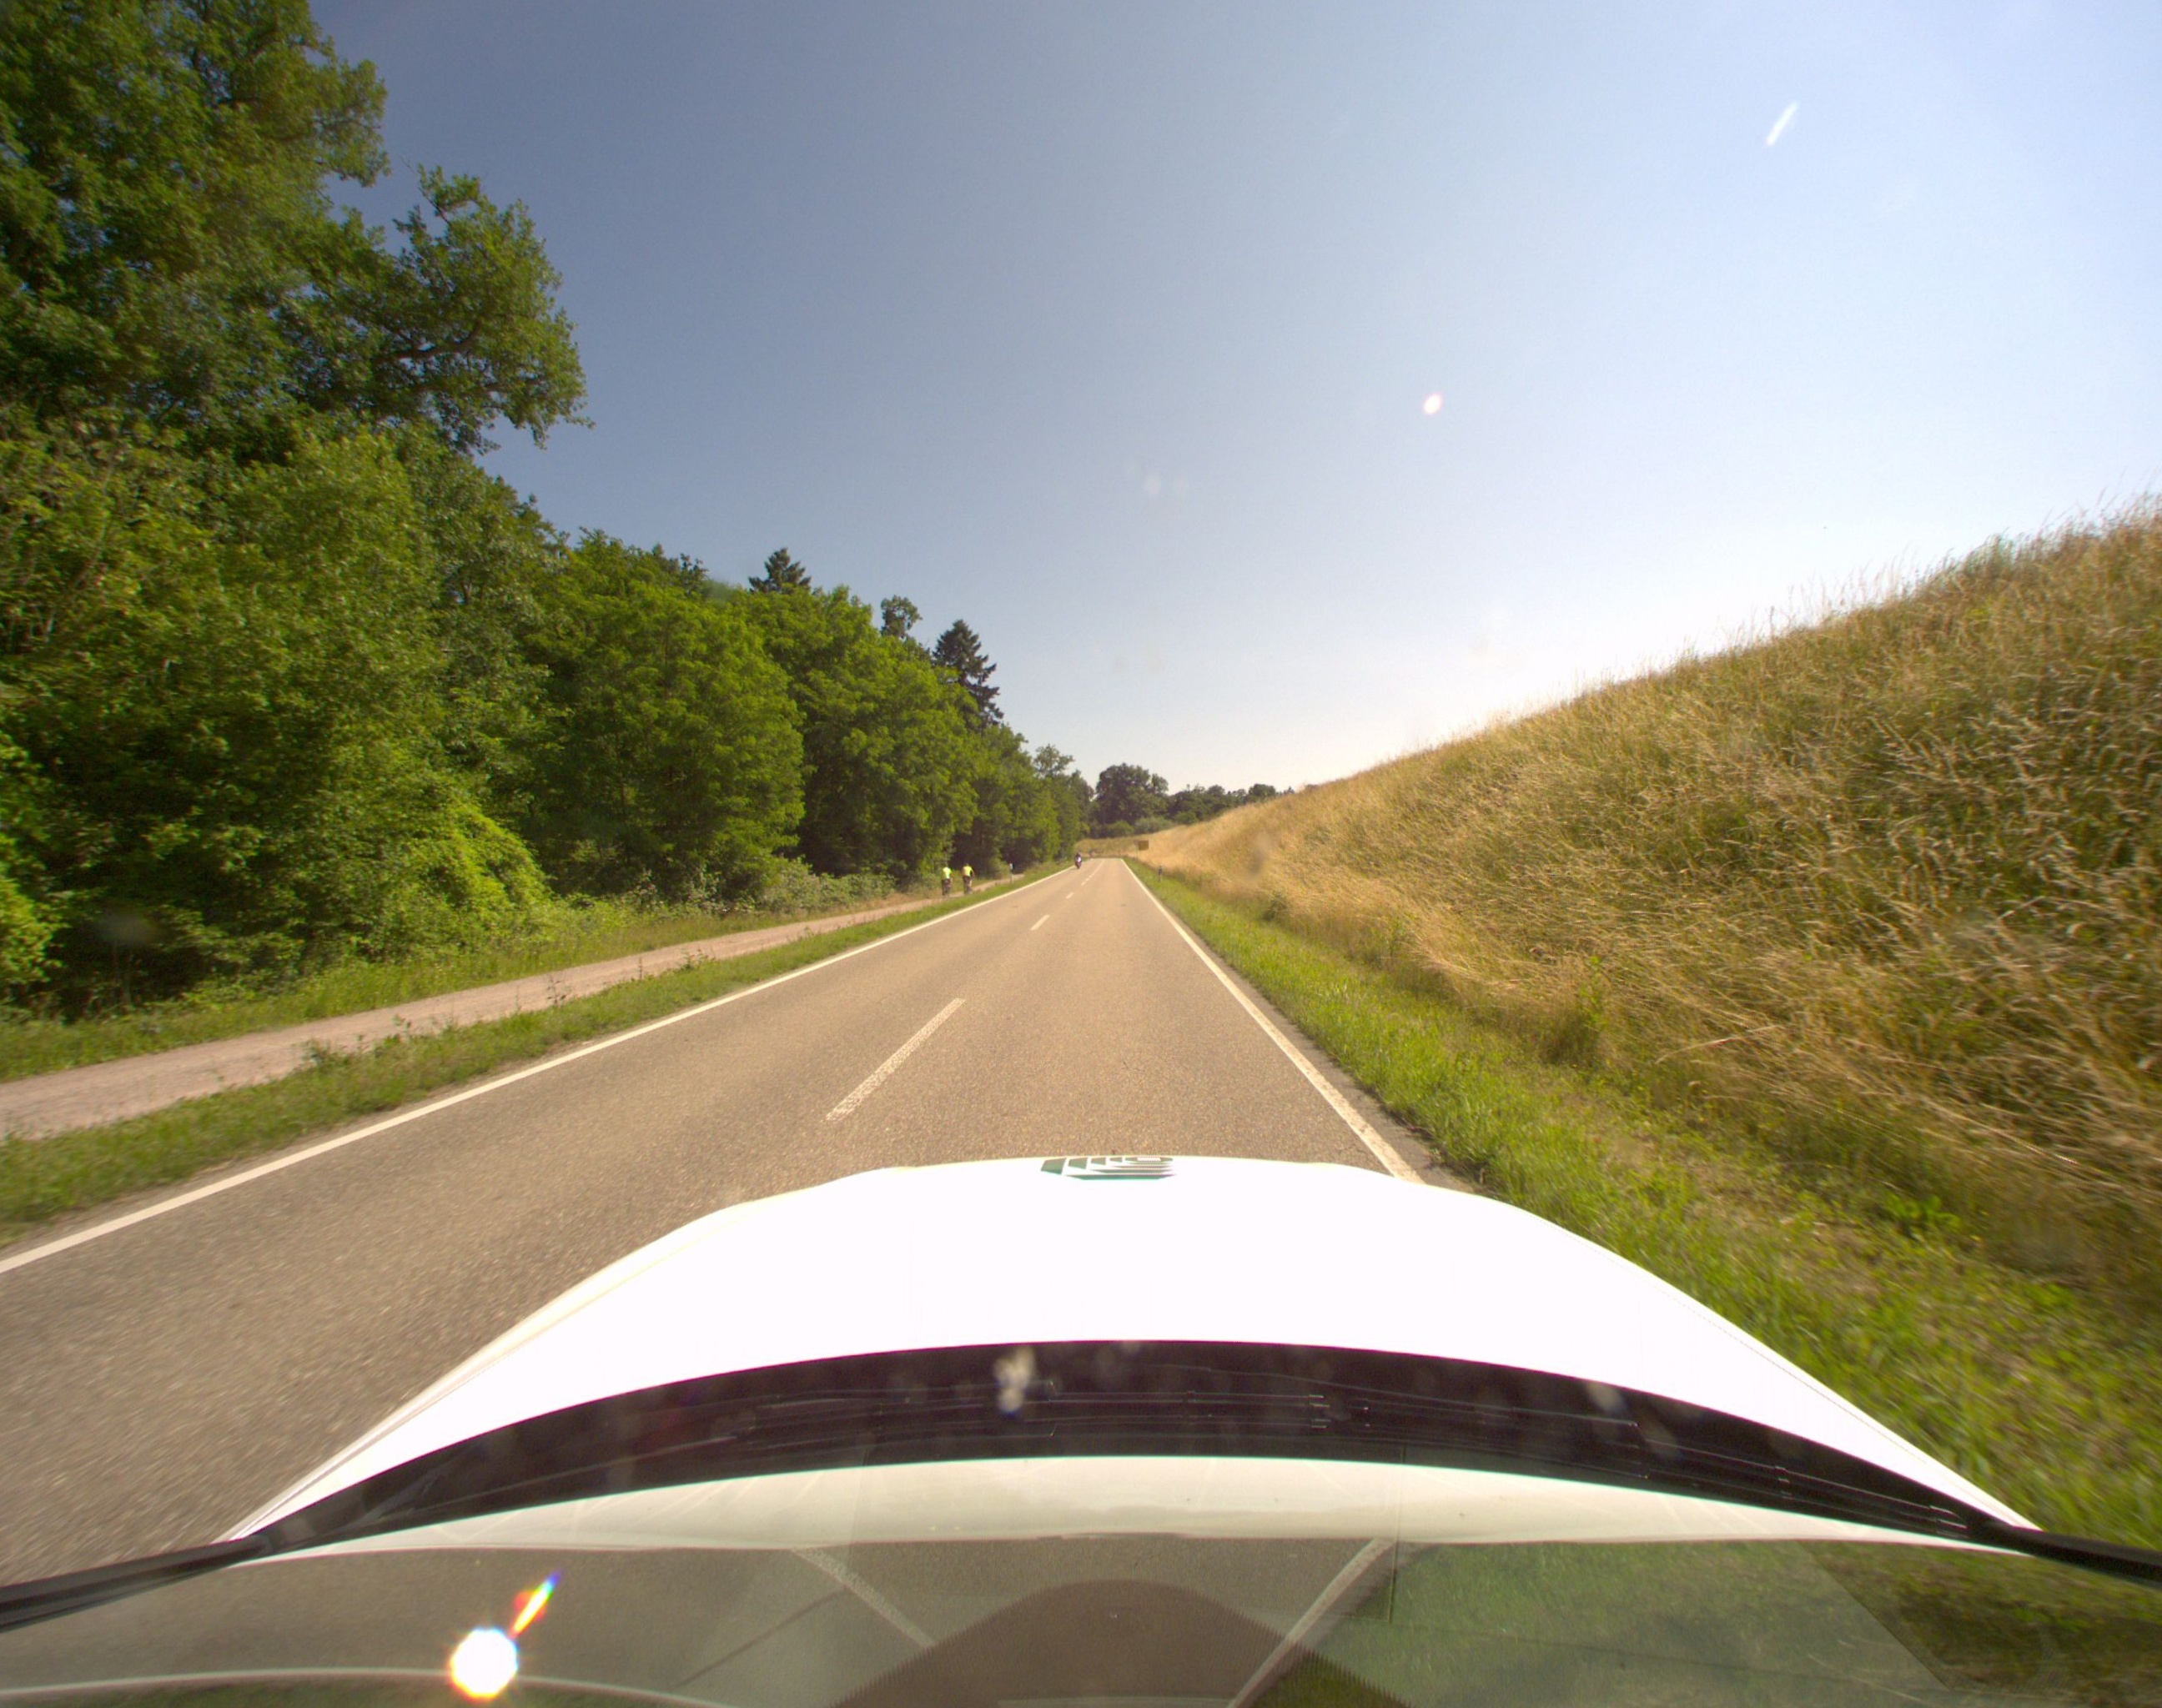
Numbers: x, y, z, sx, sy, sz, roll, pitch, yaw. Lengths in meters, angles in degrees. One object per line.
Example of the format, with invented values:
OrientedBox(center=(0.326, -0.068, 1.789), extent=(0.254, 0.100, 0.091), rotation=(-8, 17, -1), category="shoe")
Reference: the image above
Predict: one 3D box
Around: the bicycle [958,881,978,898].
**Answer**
OrientedBox(center=(-5.857, 1.835, 42.167), extent=(0.637, 0.788, 2.138), rotation=(-2, 0, 2), category="bicycle")

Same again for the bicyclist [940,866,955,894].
OrientedBox(center=(-6.947, 1.368, 42.367), extent=(0.603, 1.416, 0.703), rotation=(0, -2, 2), category="bicyclist")

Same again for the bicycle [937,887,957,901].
OrientedBox(center=(-6.958, 2.074, 42.358), extent=(0.616, 0.681, 2.137), rotation=(0, -2, 2), category="bicycle")

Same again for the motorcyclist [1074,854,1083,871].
OrientedBox(center=(-0.232, 0.803, 75.971), extent=(0.657, 1.528, 0.814), rotation=(-3, -2, 0), category="motorcyclist")

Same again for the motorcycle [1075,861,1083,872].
OrientedBox(center=(-0.207, 1.190, 75.802), extent=(0.636, 0.984, 2.007), rotation=(-3, -1, 1), category="motorcycle")

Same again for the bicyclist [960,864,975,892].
OrientedBox(center=(-5.889, 1.249, 42.202), extent=(0.603, 1.415, 0.703), rotation=(-2, 0, 2), category="bicyclist")
